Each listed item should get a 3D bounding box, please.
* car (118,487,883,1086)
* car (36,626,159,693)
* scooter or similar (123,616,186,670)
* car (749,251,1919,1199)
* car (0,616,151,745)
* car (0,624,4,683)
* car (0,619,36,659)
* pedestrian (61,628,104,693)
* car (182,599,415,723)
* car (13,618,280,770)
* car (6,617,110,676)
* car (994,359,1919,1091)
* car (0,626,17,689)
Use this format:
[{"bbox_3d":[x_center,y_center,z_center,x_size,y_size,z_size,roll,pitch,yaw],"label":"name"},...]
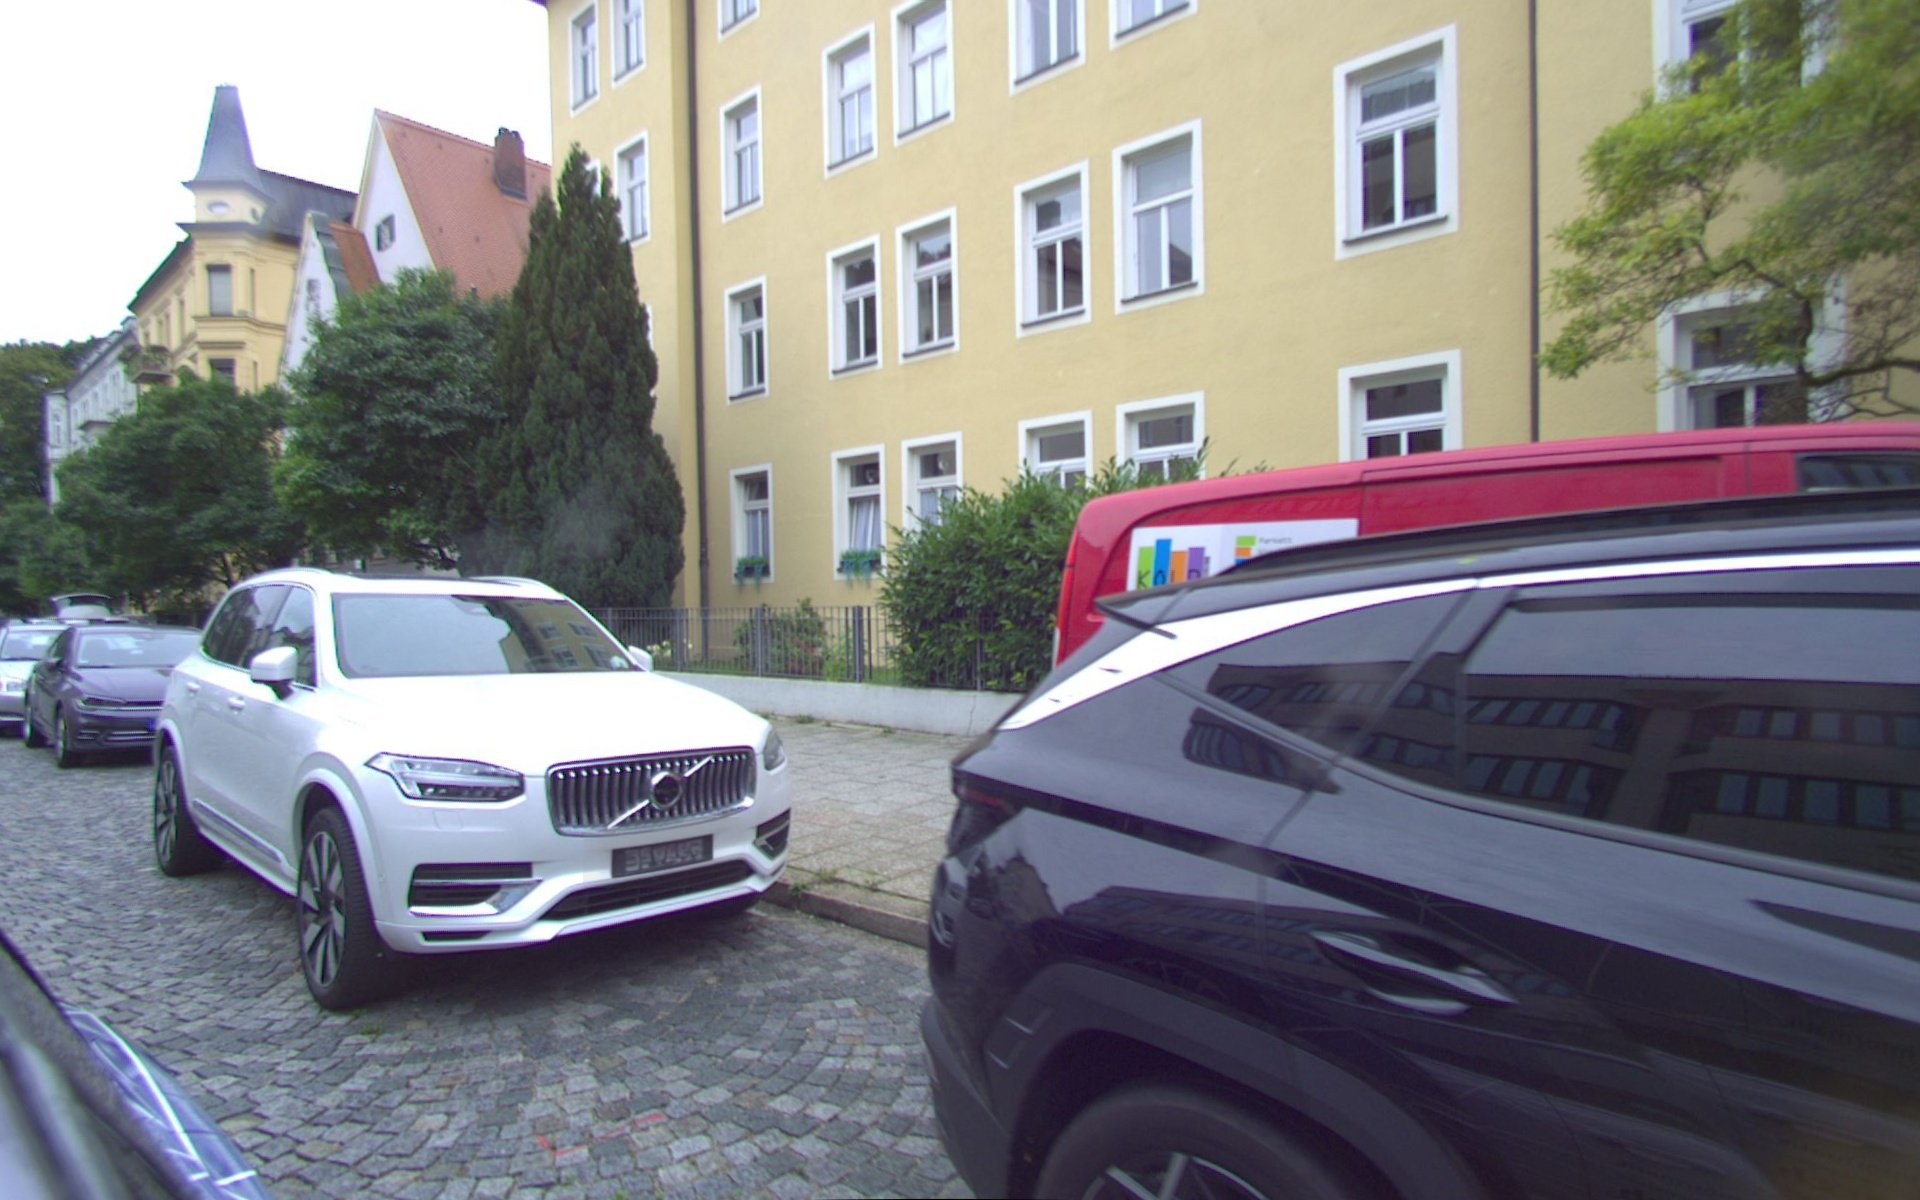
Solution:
[{"bbox_3d":[-2.911,0.628,5.587,5.173,1.823,1.984,-1,-2,43],"label":"car"},{"bbox_3d":[-21.596,1.422,25.278,4.560,1.427,1.757,-2,1,43],"label":"car"},{"bbox_3d":[-24.387,1.276,30.610,2.634,1.534,1.051,-2,-1,42],"label":"scooter or similar"},{"bbox_3d":[1.969,0.586,1.196,4.754,1.748,1.896,-2,-4,42],"label":"car"},{"bbox_3d":[-13.014,1.041,14.325,4.388,1.574,1.696,-2,-2,41],"label":"car"},{"bbox_3d":[-28.293,1.491,28.384,4.534,1.615,1.721,-1,-1,41],"label":"car"},{"bbox_3d":[-39.071,1.583,41.095,4.388,1.477,1.822,-1,1,42],"label":"car"},{"bbox_3d":[-23.253,1.579,26.809,0.582,1.662,0.757,-2,0,43],"label":"pedestrian"},{"bbox_3d":[-10.041,0.835,15.200,4.719,1.508,1.697,-2,2,42],"label":"car"},{"bbox_3d":[-9.328,0.948,11.502,3.935,1.429,1.711,-2,-2,42],"label":"car"},{"bbox_3d":[-26.882,1.327,30.110,4.464,1.547,1.722,-1,1,41],"label":"car"},{"bbox_3d":[2.843,0.308,3.716,5.327,1.945,1.974,-2,1,41],"label":"car"},{"bbox_3d":[-24.671,1.377,24.873,4.912,1.466,1.795,-1,-3,43],"label":"car"}]
